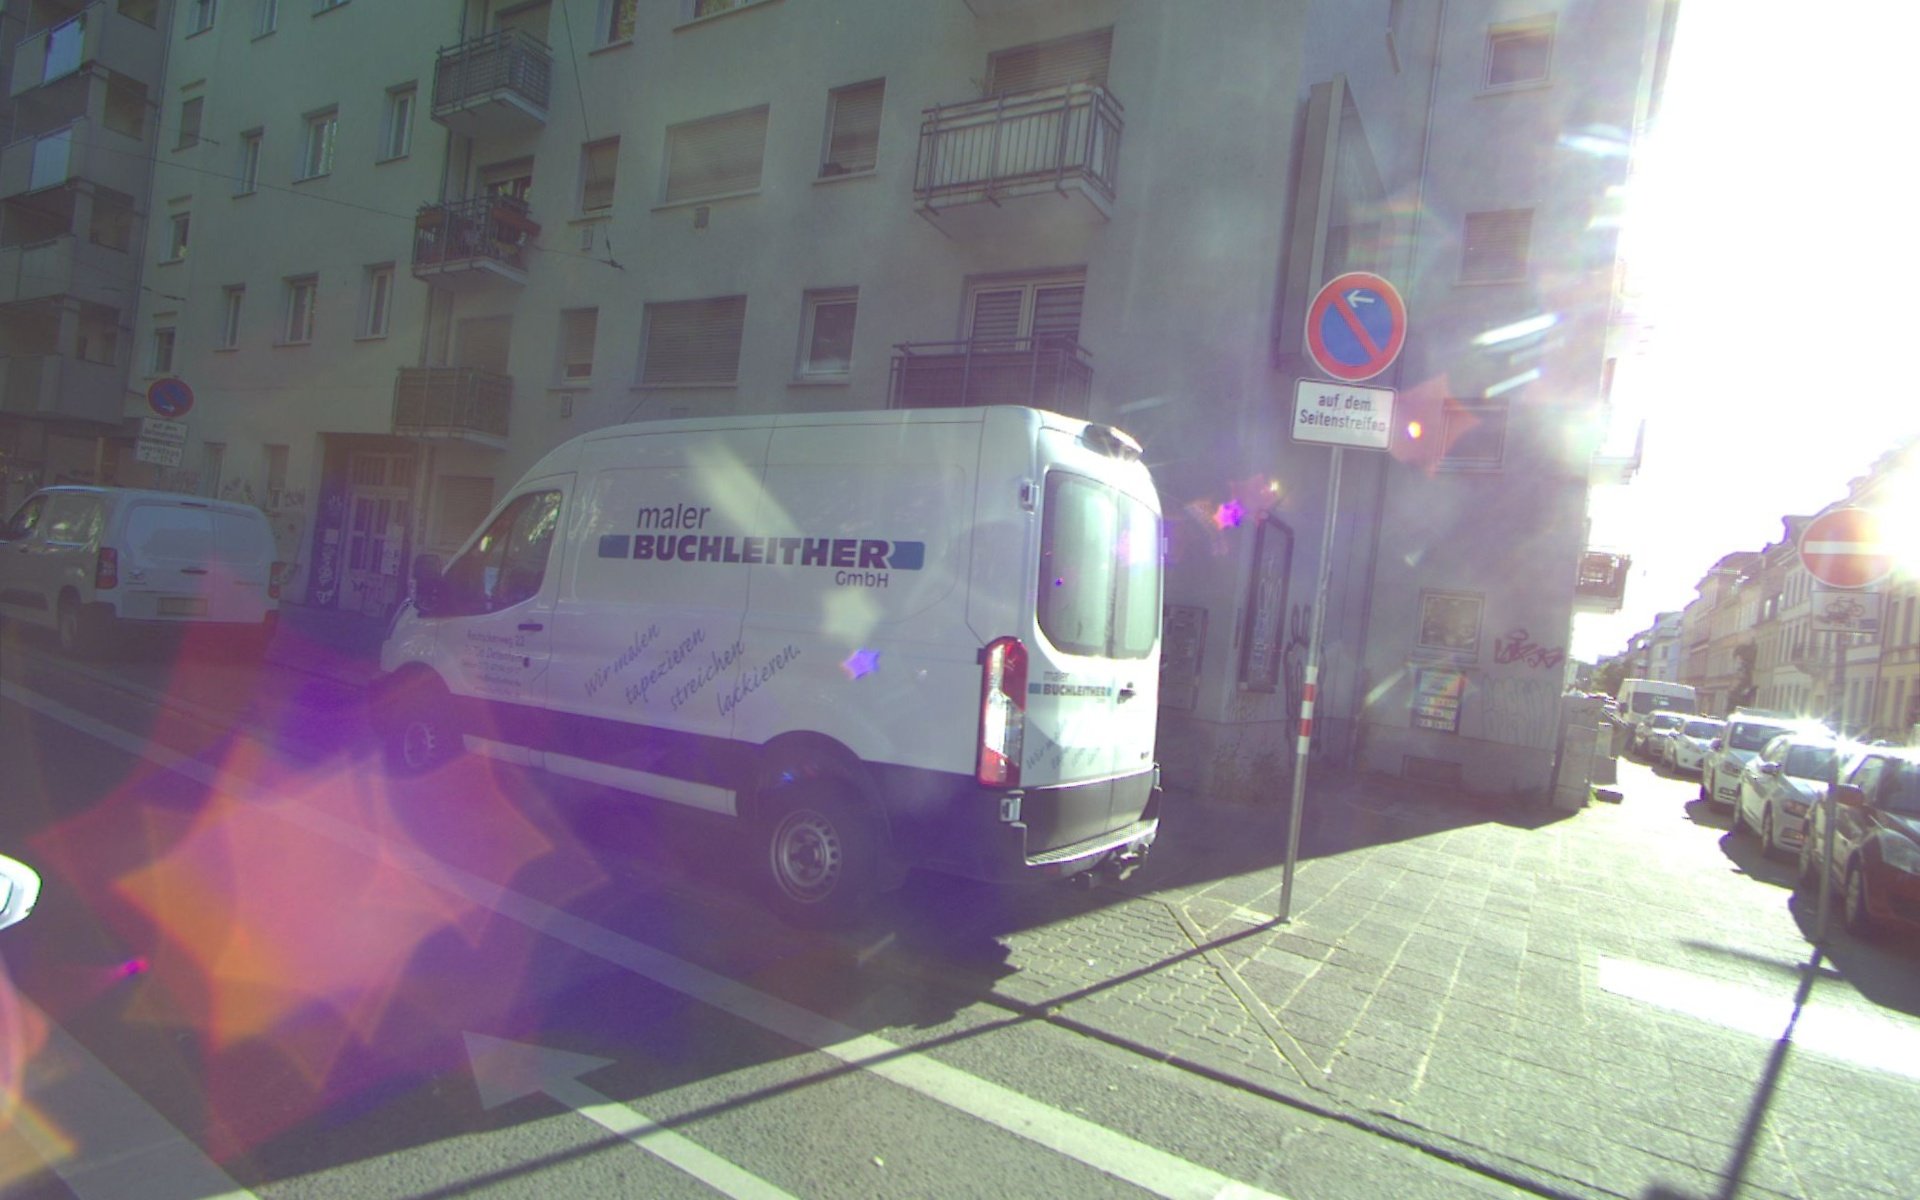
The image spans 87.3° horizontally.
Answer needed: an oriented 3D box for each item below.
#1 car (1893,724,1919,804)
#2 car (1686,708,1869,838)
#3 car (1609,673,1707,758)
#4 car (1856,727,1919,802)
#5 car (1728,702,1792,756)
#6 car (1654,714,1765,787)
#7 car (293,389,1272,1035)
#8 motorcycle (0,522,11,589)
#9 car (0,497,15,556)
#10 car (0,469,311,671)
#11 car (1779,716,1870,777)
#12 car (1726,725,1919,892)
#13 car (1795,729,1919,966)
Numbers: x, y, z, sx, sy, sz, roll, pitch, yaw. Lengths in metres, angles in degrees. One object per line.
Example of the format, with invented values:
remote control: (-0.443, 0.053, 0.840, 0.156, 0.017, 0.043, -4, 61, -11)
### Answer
car: (23.753, 4.020, 23.417, 1.745, 1.888, 4.674, 7, -1, 29)
car: (13.666, 2.794, 17.077, 1.761, 1.655, 4.253, 6, -2, 32)
car: (24.149, 3.952, 35.021, 2.112, 2.427, 5.641, 7, -1, 30)
car: (26.796, 4.647, 27.928, 1.966, 1.815, 3.830, 7, -1, 31)
car: (39.439, 6.318, 49.696, 1.689, 2.298, 4.192, 7, -1, 31)
car: (19.241, 3.812, 25.984, 1.634, 1.423, 4.146, 6, -2, 30)
car: (-1.439, 0.252, 6.399, 5.987, 2.525, 2.153, 6, -1, 32)
motorcycle: (-16.391, -0.810, 15.954, 1.807, 1.093, 0.611, 7, 0, -35)
car: (-25.608, -2.030, 23.589, 1.830, 1.455, 4.627, 7, 0, 21)
car: (-9.765, -0.400, 11.748, 4.278, 1.842, 1.861, 7, -1, 31)
car: (32.270, 5.425, 37.685, 1.689, 1.815, 4.192, 7, -1, 31)
car: (10.896, 2.464, 12.444, 1.761, 1.472, 4.030, 6, -1, 33)
car: (8.345, 2.027, 8.280, 1.762, 1.592, 3.654, 8, -1, 35)
